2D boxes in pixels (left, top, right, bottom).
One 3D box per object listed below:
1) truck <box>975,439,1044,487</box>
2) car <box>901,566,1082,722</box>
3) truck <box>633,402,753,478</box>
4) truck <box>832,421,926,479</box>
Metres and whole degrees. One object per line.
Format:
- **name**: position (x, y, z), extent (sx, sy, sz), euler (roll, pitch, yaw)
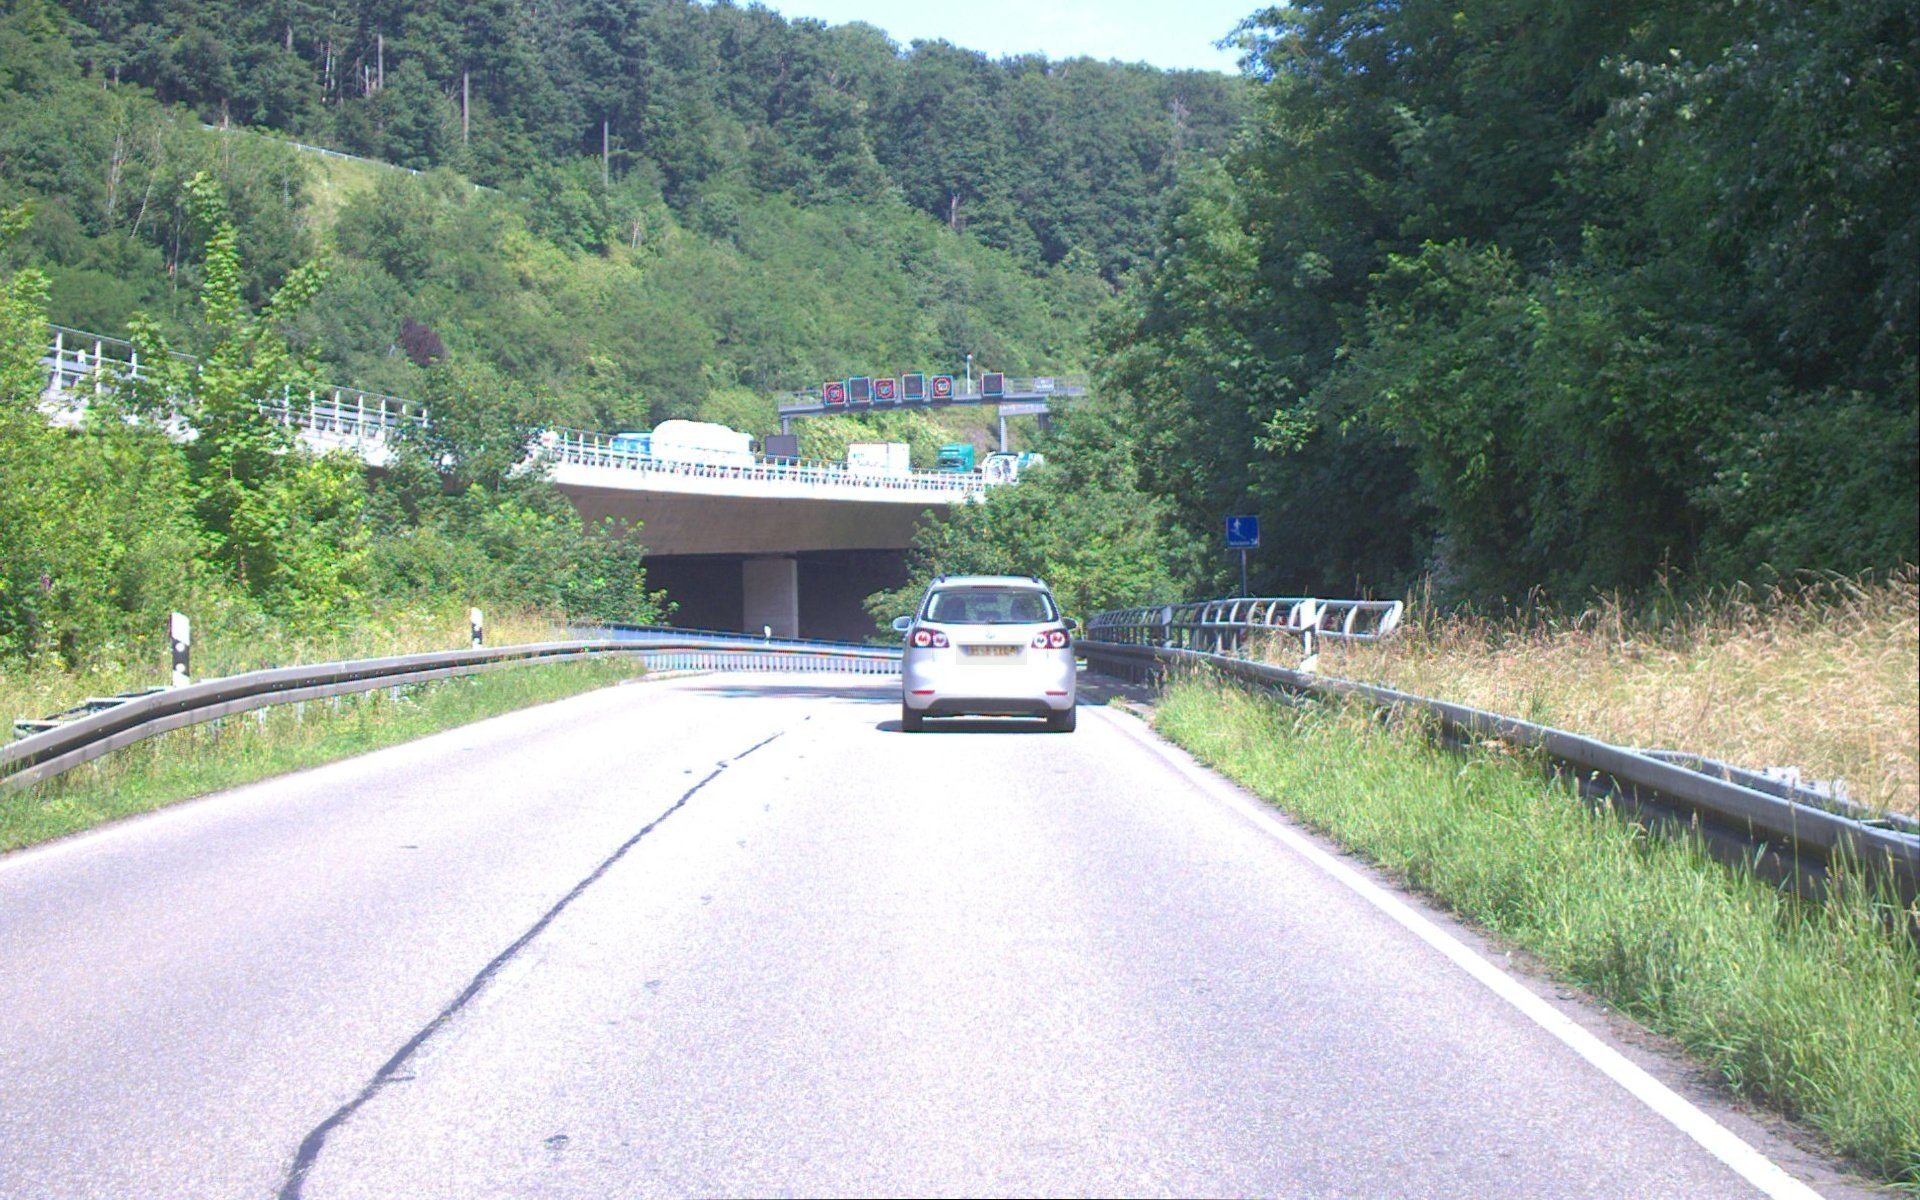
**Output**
- **truck**: position (3.806, -10.316, 260.325), extent (3.542, 3.412, 9.894), euler (0, 1, 11)
- **car**: position (0.303, 0.428, 35.381), extent (1.751, 1.515, 4.159), euler (0, 0, 0)
- **truck**: position (-12.994, -7.794, 168.275), extent (3.371, 3.343, 10.171), euler (1, 1, 10)
- **truck**: position (-5.030, -9.367, 215.857), extent (3.761, 3.373, 10.503), euler (0, 1, 11)
